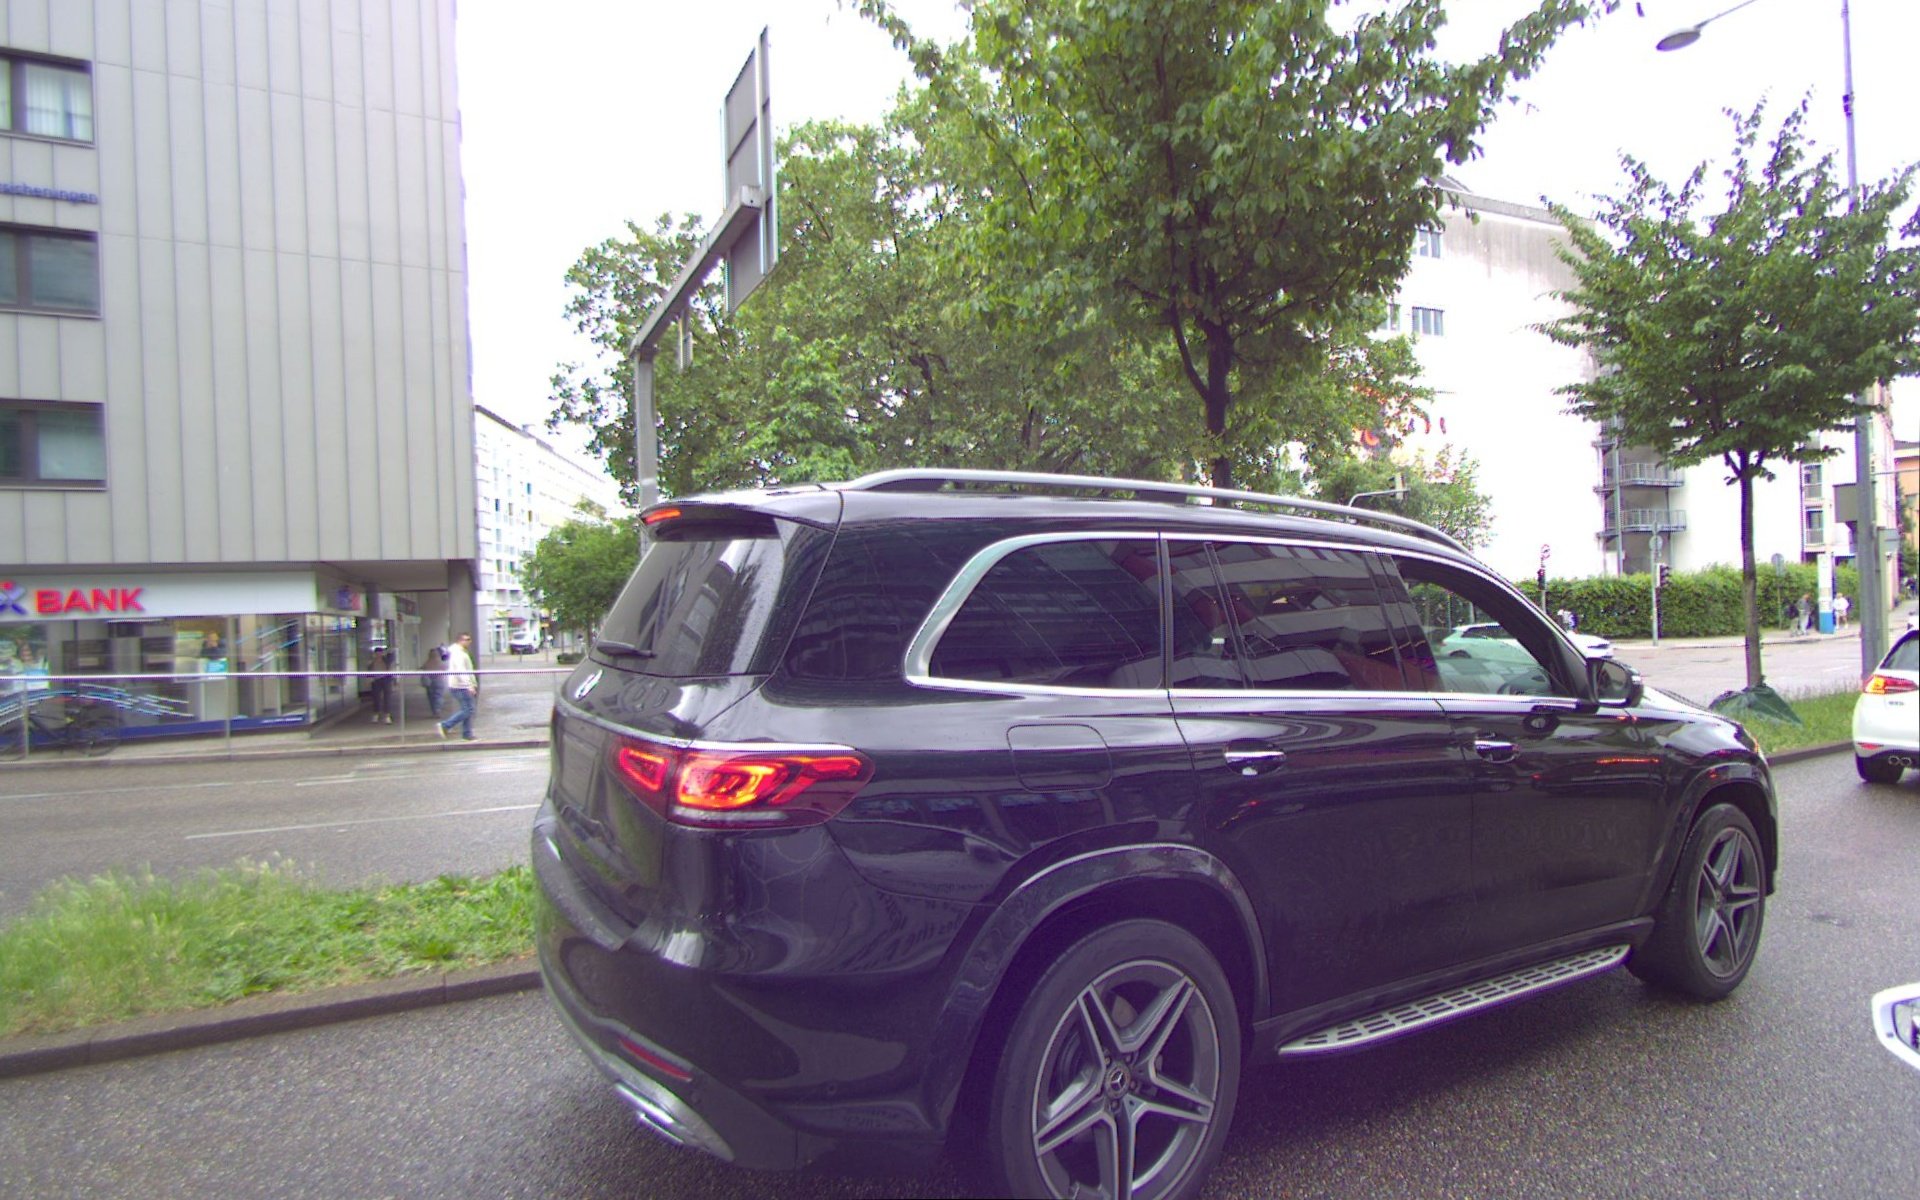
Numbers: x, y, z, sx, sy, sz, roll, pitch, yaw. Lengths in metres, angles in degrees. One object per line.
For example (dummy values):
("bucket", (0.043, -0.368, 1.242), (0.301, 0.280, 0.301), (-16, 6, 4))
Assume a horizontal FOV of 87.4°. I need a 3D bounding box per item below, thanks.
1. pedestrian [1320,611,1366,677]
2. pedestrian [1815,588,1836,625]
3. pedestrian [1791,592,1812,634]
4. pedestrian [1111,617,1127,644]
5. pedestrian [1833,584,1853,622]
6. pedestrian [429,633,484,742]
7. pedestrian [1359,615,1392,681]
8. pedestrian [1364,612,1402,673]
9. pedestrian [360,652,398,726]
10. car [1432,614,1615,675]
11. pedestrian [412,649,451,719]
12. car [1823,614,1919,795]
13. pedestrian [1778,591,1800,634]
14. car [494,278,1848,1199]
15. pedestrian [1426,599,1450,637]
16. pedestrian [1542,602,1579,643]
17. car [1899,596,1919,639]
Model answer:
("pedestrian", (10.744, 1.234, 28.201), (0.702, 1.807, 0.917), (2, -1, -35))
("pedestrian", (41.079, 0.306, 47.676), (0.651, 1.751, 0.591), (2, -1, -38))
("pedestrian", (36.037, 0.550, 43.029), (0.559, 1.771, 0.535), (2, -1, -35))
("pedestrian", (9.972, 1.899, 63.060), (0.723, 1.664, 0.635), (2, -1, -23))
("pedestrian", (41.729, 0.127, 47.464), (0.651, 1.751, 0.591), (2, -1, -38))
("pedestrian", (-8.191, 1.412, 16.342), (0.717, 1.704, 0.587), (2, -1, -30))
("pedestrian", (10.888, 1.253, 26.323), (0.572, 1.684, 0.554), (-2, 0, -30))
("pedestrian", (12.062, 1.209, 28.673), (0.620, 1.684, 0.749), (-2, 0, -30))
("pedestrian", (-13.686, 2.080, 23.654), (0.630, 1.659, 0.782), (2, -1, -37))
("car", (15.881, 1.200, 28.514), (1.624, 1.506, 4.257), (0, 1, -39))
("pedestrian", (-13.270, 2.087, 25.224), (0.719, 1.719, 0.782), (2, -3, -37))
("car", (9.527, 0.868, 8.959), (3.800, 1.448, 1.768), (0, 0, -33))
("pedestrian", (34.676, 0.542, 42.020), (0.741, 1.771, 0.535), (2, -1, -38))
("car", (1.131, 0.511, 3.769), (5.016, 1.895, 1.901), (3, -1, -31))
("pedestrian", (21.697, 0.814, 45.573), (0.633, 1.664, 0.726), (2, -1, -37))
("pedestrian", (24.022, 0.904, 40.170), (0.677, 1.599, 1.055), (2, -1, -34))
("car", (34.957, 0.607, 35.687), (3.571, 1.506, 1.565), (0, 1, -33))
